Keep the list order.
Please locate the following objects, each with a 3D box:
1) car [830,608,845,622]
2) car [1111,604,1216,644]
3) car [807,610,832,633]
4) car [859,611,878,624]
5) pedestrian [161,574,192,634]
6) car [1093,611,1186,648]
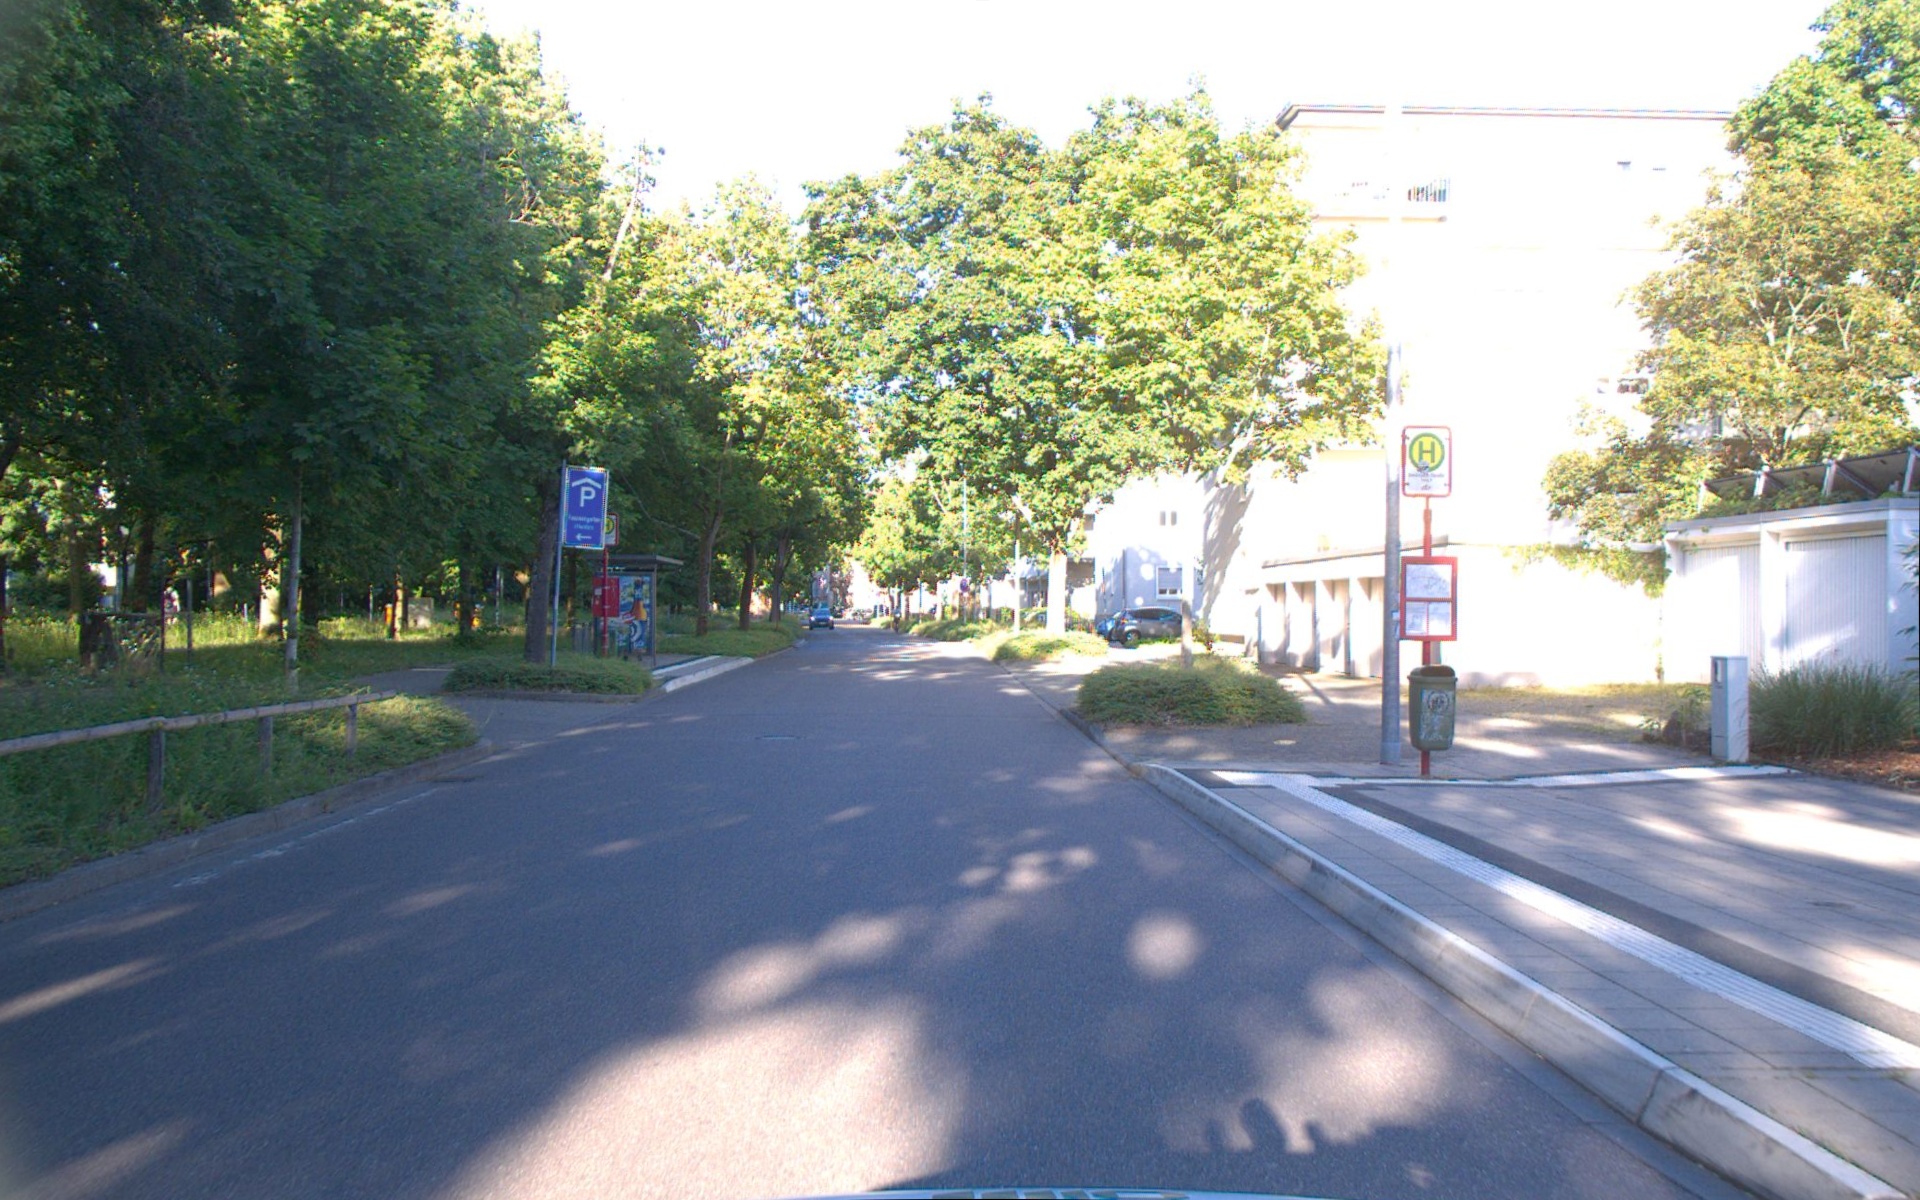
[{"bbox_3d":[-17.459,2.122,235.726,1.778,1.959,3.991,1,0,-9],"label":"car"},{"bbox_3d":[8.231,0.967,67.066,3.962,1.541,1.725,1,-1,-5],"label":"car"},{"bbox_3d":[-10.585,1.583,124.524,1.808,1.606,4.331,-1,0,-5],"label":"car"},{"bbox_3d":[-11.502,2.155,207.520,1.780,1.527,3.987,0,0,-13],"label":"car"},{"bbox_3d":[-26.988,0.135,56.972,0.742,2.049,0.589,1,-1,-6],"label":"pedestrian"},{"bbox_3d":[8.081,1.315,74.593,3.910,1.609,1.808,0,1,-6],"label":"car"}]
